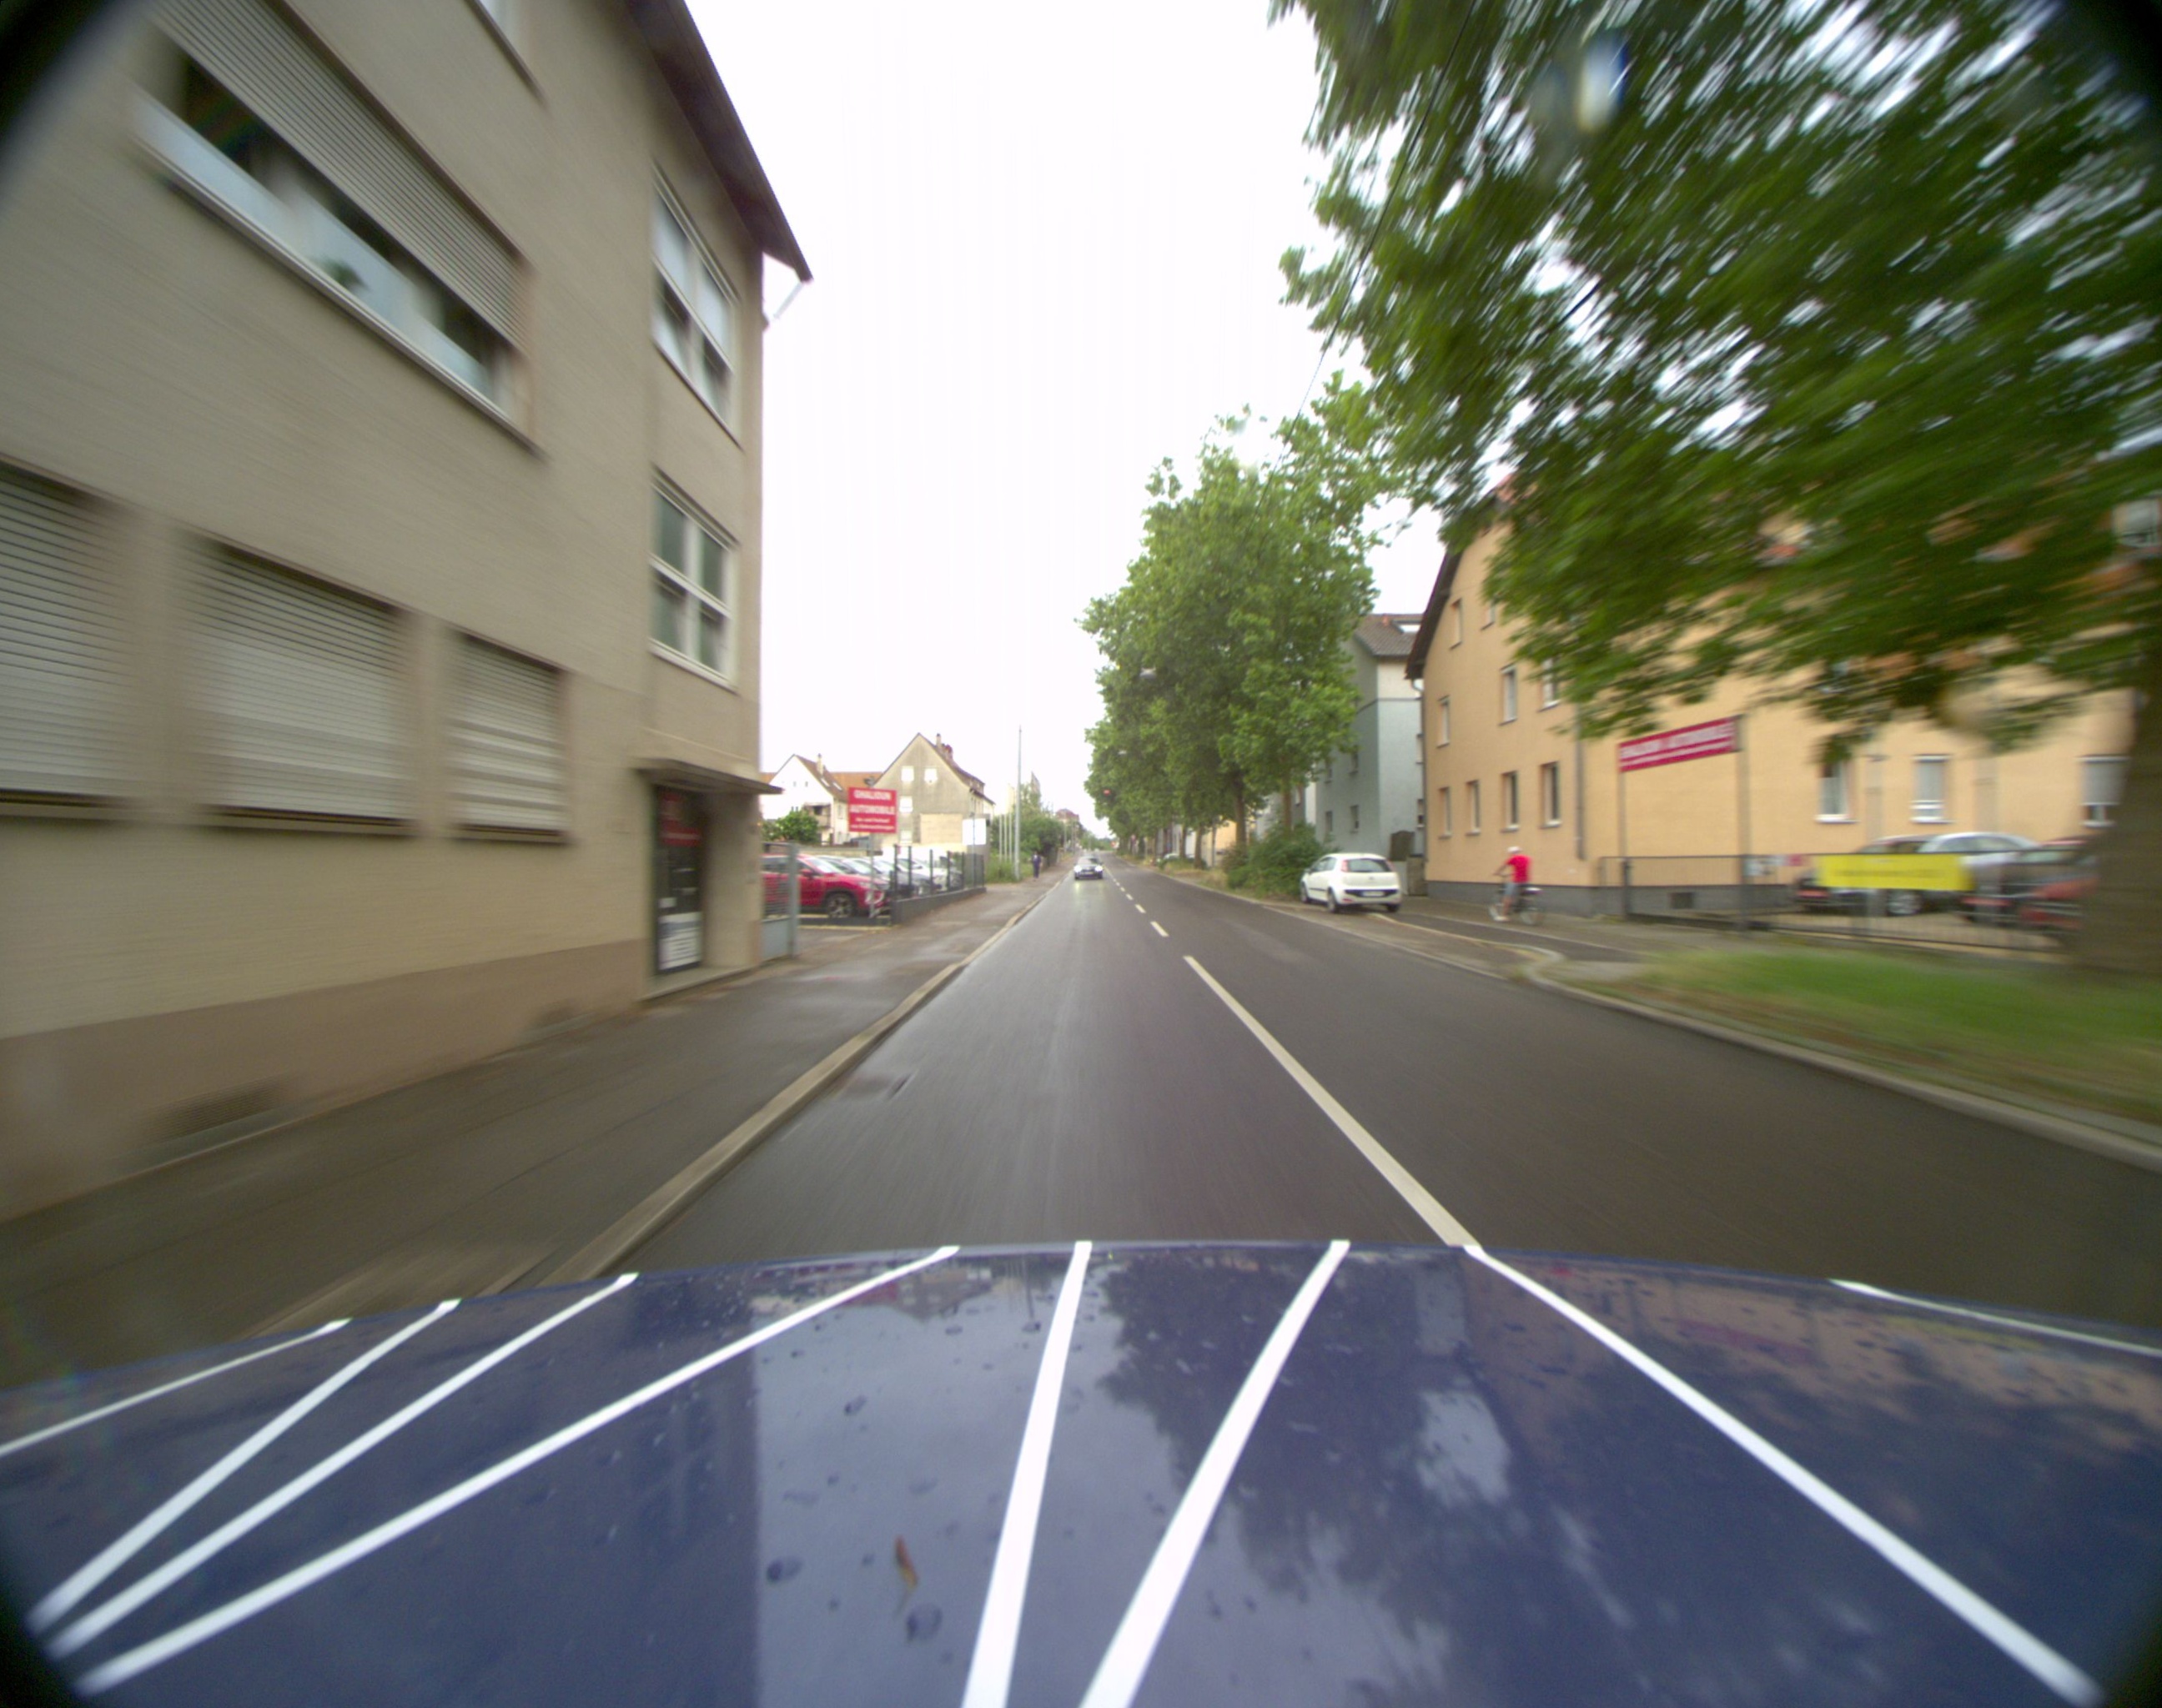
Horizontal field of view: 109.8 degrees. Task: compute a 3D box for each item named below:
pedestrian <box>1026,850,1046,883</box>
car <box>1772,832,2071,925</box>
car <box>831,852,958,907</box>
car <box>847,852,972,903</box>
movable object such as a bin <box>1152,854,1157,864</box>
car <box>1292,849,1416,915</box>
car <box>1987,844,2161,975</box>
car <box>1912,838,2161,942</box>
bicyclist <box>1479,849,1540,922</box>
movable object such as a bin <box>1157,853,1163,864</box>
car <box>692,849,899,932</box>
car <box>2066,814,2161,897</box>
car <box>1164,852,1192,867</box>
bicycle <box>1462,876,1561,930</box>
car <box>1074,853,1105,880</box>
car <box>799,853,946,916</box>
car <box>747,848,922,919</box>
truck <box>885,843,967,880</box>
[{"bbox_3d":[-2.665,0.714,44.905,1.045,1.886,0.900,-1,2,1],"label":"pedestrian"},{"bbox_3d":[17.034,0.475,15.575,3.996,1.605,1.782,-3,0,3],"label":"car"},{"bbox_3d":[-6.539,0.887,26.960,3.958,1.714,1.791,-2,1,1],"label":"car"},{"bbox_3d":[-6.622,0.880,29.686,4.313,1.758,2.000,-2,2,1],"label":"car"},{"bbox_3d":[7.479,0.494,77.281,0.513,0.922,0.581,0,2,1],"label":"movable object such as a bin"},{"bbox_3d":[7.214,0.679,20.580,1.790,1.542,4.351,-1,0,0],"label":"car"},{"bbox_3d":[15.015,0.617,9.824,4.108,1.489,1.958,-2,0,3],"label":"car"},{"bbox_3d":[16.989,0.542,12.686,3.996,1.456,1.887,-3,0,3],"label":"car"},{"bbox_3d":[9.503,0.673,16.867,0.835,1.544,0.816,-3,2,-11],"label":"bicyclist"},{"bbox_3d":[8.060,0.439,77.358,0.536,1.051,0.762,0,2,1],"label":"movable object such as a bin"},{"bbox_3d":[-6.815,0.835,18.498,4.238,1.726,1.869,-2,2,1],"label":"car"},{"bbox_3d":[23.383,-0.058,15.597,3.858,1.605,1.736,-3,0,3],"label":"car"},{"bbox_3d":[8.828,0.480,69.630,1.760,1.318,4.537,-2,1,-2],"label":"car"},{"bbox_3d":[9.534,1.058,16.944,0.556,0.990,2.263,-3,2,-11],"label":"bicycle"},{"bbox_3d":[0.540,0.781,49.761,1.949,1.644,3.859,-1,0,0],"label":"car"},{"bbox_3d":[-6.576,0.944,24.284,4.077,1.726,1.869,-2,2,1],"label":"car"},{"bbox_3d":[-6.840,0.782,21.414,4.238,1.726,1.869,-2,2,1],"label":"car"},{"bbox_3d":[-12.085,0.553,59.477,5.859,2.623,2.043,-2,2,0],"label":"truck"}]
